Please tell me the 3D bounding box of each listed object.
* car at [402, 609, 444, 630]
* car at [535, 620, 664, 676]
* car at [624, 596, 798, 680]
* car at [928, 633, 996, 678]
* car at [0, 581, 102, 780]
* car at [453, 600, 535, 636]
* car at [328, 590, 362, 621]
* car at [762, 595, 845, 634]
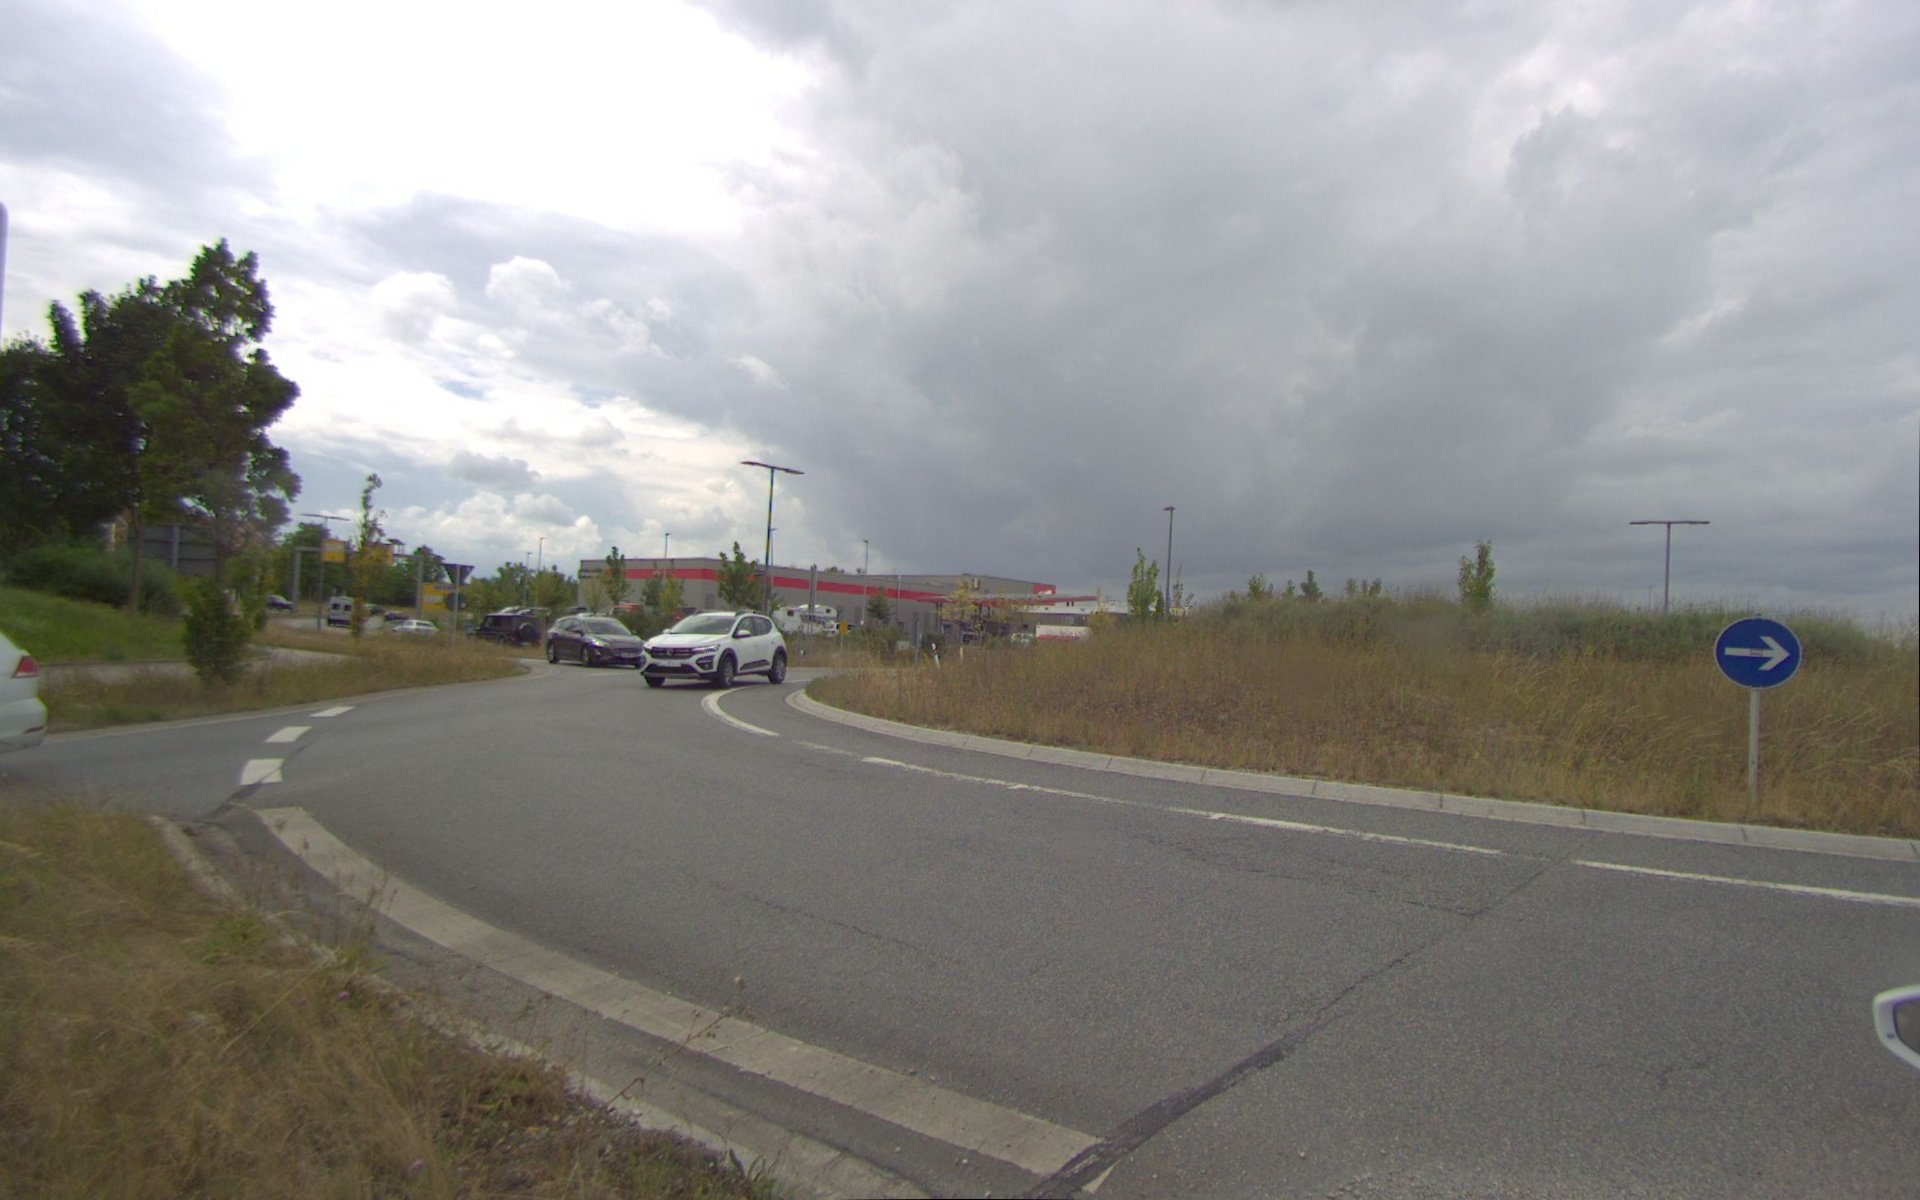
[{"bbox_3d":[-35.917,1.297,67.163,1.490,1.318,3.698,5,-3,-44],"label":"car"},{"bbox_3d":[-10.600,1.401,29.496,3.533,1.267,1.673,4,-2,33],"label":"car"},{"bbox_3d":[-5.089,0.803,21.157,1.699,1.578,4.088,0,-2,16],"label":"car"},{"bbox_3d":[0.155,2.338,42.649,1.960,1.629,4.301,5,-2,11],"label":"car"},{"bbox_3d":[-8.249,0.486,5.883,1.693,1.427,4.645,2,-2,19],"label":"car"},{"bbox_3d":[-23.024,0.891,49.602,3.936,1.572,2.011,2,-2,37],"label":"car"},{"bbox_3d":[-53.787,0.468,87.910,2.256,2.418,5.664,6,-2,-31],"label":"car"},{"bbox_3d":[-14.023,1.353,90.574,2.432,2.856,7.662,4,-2,38],"label":"car"}]
